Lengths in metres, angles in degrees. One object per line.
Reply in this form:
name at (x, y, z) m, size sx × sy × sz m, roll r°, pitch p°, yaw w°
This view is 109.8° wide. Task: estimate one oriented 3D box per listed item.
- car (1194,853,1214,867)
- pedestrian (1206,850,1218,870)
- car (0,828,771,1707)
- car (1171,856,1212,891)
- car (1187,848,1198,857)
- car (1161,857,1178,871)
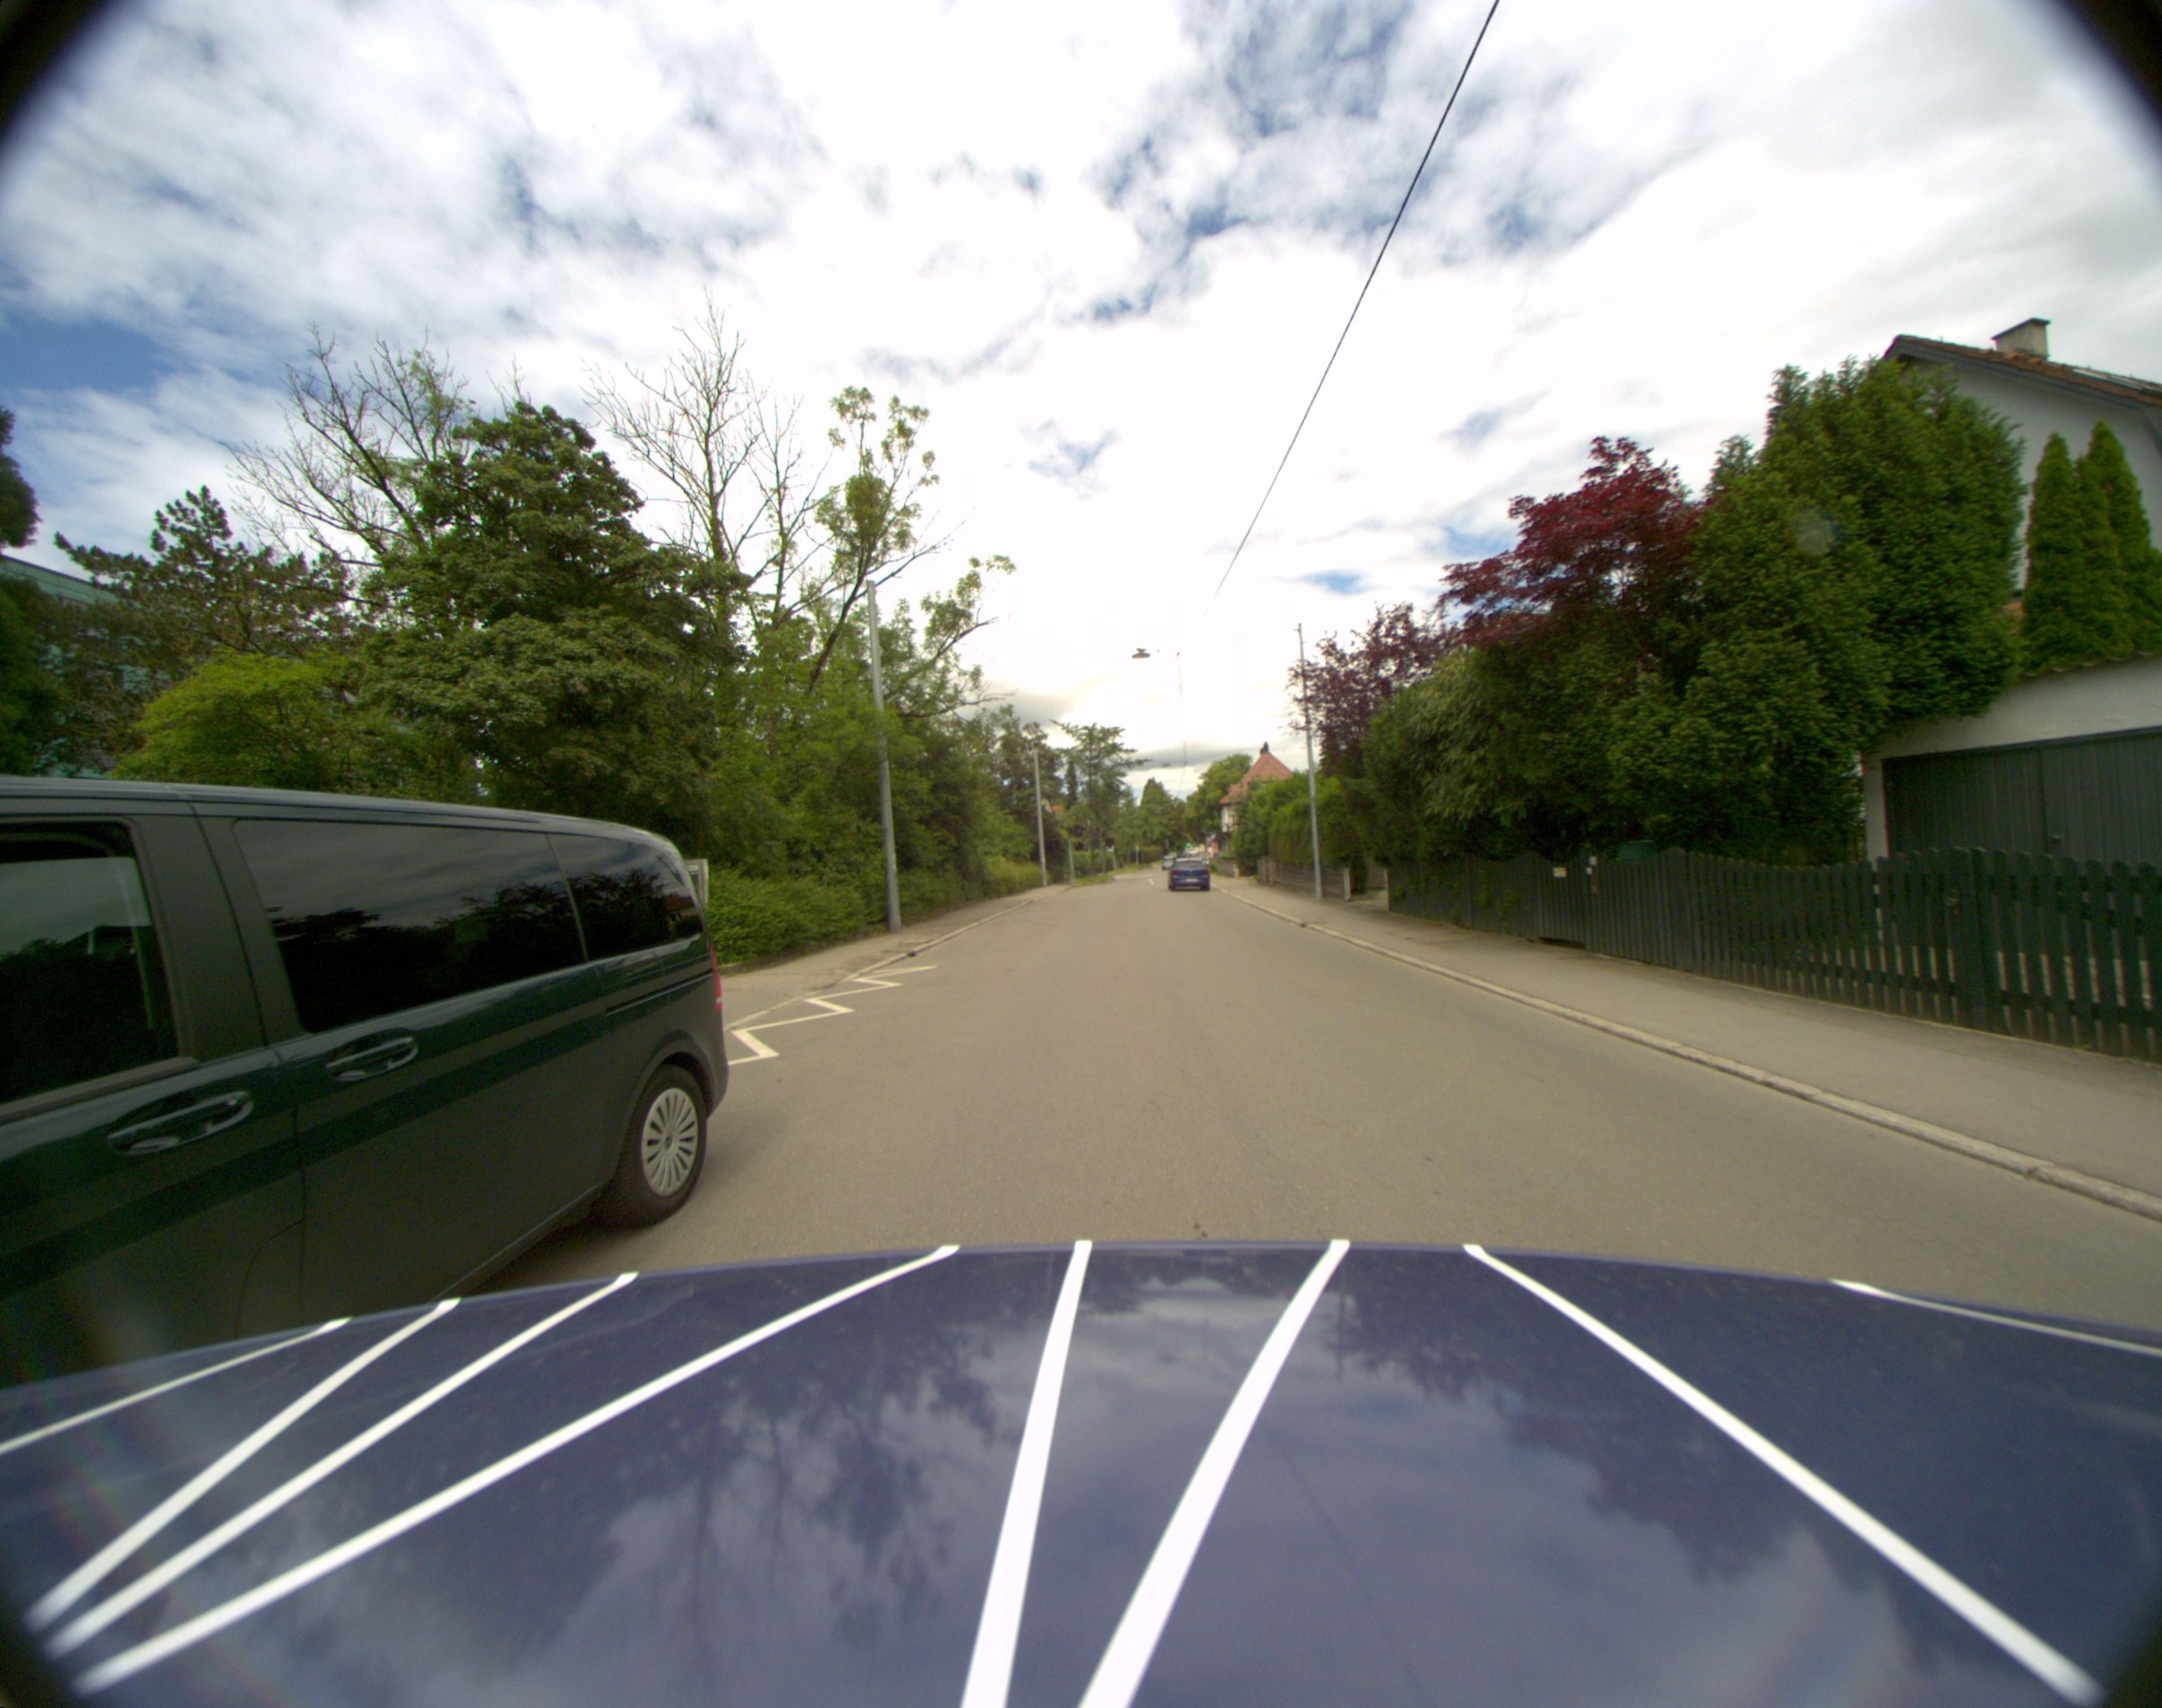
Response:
car at (14.087, 0.715, 86.850) m, size 1.821 × 1.343 × 3.395 m, roll -5°, pitch 0°, yaw 16°
pedestrian at (11.387, 0.514, 66.155) m, size 0.821 × 1.734 × 0.604 m, roll -5°, pitch 1°, yaw 6°
car at (-2.803, 0.934, 1.742) m, size 1.914 × 1.837 × 5.157 m, roll -4°, pitch 0°, yaw 0°
car at (4.971, 0.851, 34.562) m, size 1.697 × 1.423 × 3.929 m, roll -1°, pitch 0°, yaw 6°
car at (23.548, -0.370, 161.141) m, size 1.998 × 1.686 × 4.001 m, roll -5°, pitch 0°, yaw 5°
car at (10.641, 1.173, 91.660) m, size 1.844 × 1.646 × 4.139 m, roll -1°, pitch 0°, yaw 3°
